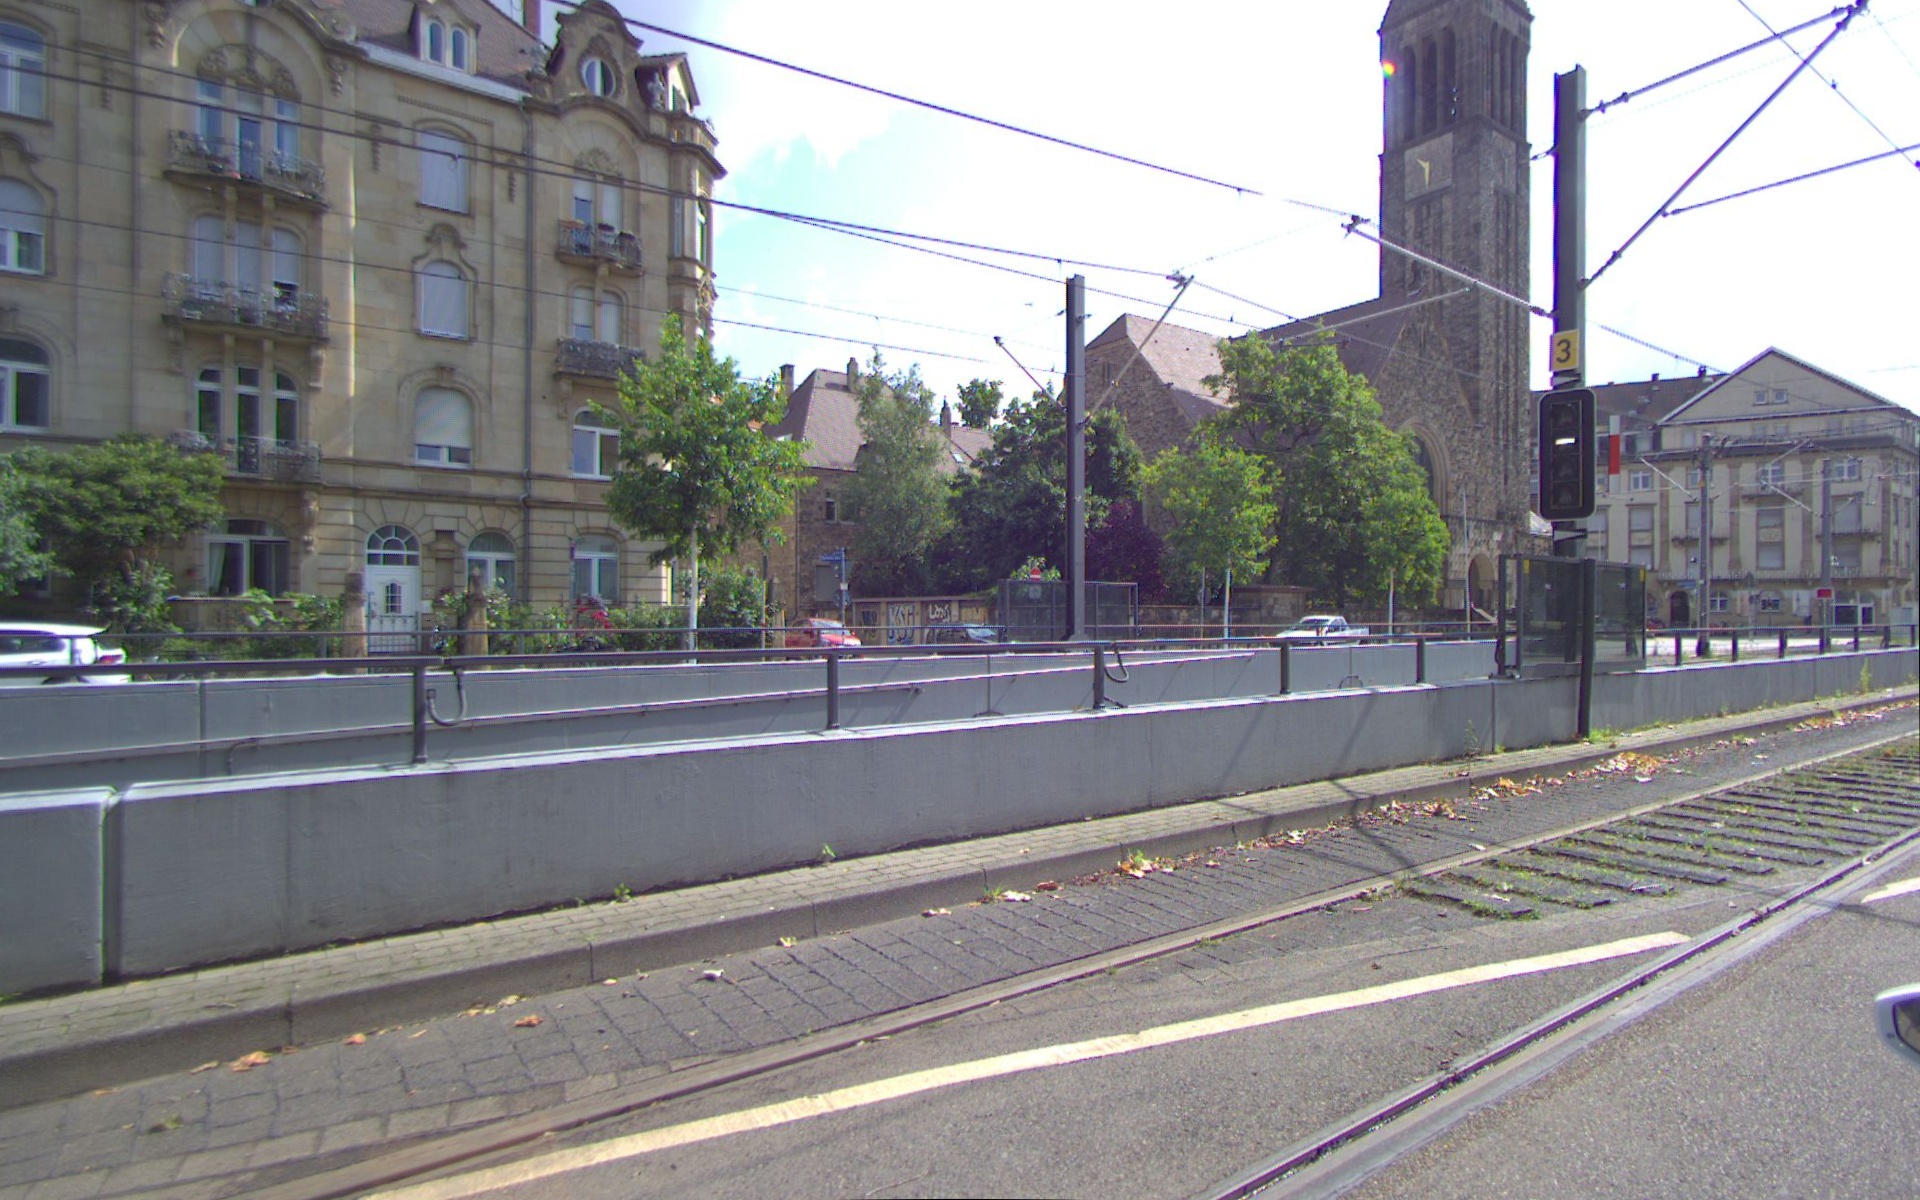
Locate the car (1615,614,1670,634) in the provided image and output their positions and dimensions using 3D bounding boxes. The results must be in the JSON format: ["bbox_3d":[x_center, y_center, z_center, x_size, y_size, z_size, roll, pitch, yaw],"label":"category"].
[{"bbox_3d":[59.184,2.076,87.143,1.961,1.696,3.999,0,-1,-3],"label":"car"}]

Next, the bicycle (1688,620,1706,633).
[{"bbox_3d":[63.182,2.257,86.118,0.729,1.067,2.564,0,-1,25],"label":"bicycle"}]

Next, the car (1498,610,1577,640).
[{"bbox_3d":[35.367,1.487,61.572,1.878,1.772,3.841,0,-1,-38],"label":"car"}]

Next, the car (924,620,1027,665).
[{"bbox_3d":[0.486,1.464,35.438,1.706,1.483,3.937,0,-1,-35],"label":"car"}]

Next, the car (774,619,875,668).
[{"bbox_3d":[-4.447,1.363,32.601,1.911,1.483,3.760,0,-1,-32],"label":"car"}]

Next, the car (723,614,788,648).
[{"bbox_3d":[-10.540,1.574,51.589,1.915,1.693,3.754,1,-1,-36],"label":"car"}]

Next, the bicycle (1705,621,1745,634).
[{"bbox_3d":[63.822,2.266,83.808,2.519,1.067,0.681,-1,-1,28],"label":"bicycle"}]

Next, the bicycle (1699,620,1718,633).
[{"bbox_3d":[63.886,2.269,85.713,0.791,1.067,2.564,0,-1,25],"label":"bicycle"}]

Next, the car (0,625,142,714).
[{"bbox_3d":[-15.652,1.079,15.775,4.274,1.345,1.738,1,-1,-38],"label":"car"}]

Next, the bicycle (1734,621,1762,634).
[{"bbox_3d":[66.206,2.297,84.392,2.530,1.067,0.801,0,-1,-24],"label":"bicycle"}]

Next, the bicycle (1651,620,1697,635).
[{"bbox_3d":[61.187,2.357,86.101,0.983,1.270,3.307,0,-1,-18],"label":"bicycle"}]

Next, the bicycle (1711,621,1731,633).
[{"bbox_3d":[64.641,2.280,85.332,0.791,1.067,2.564,0,-1,25],"label":"bicycle"}]

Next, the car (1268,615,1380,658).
[{"bbox_3d":[13.647,1.326,37.606,4.374,1.524,1.917,1,-1,-38],"label":"car"}]
